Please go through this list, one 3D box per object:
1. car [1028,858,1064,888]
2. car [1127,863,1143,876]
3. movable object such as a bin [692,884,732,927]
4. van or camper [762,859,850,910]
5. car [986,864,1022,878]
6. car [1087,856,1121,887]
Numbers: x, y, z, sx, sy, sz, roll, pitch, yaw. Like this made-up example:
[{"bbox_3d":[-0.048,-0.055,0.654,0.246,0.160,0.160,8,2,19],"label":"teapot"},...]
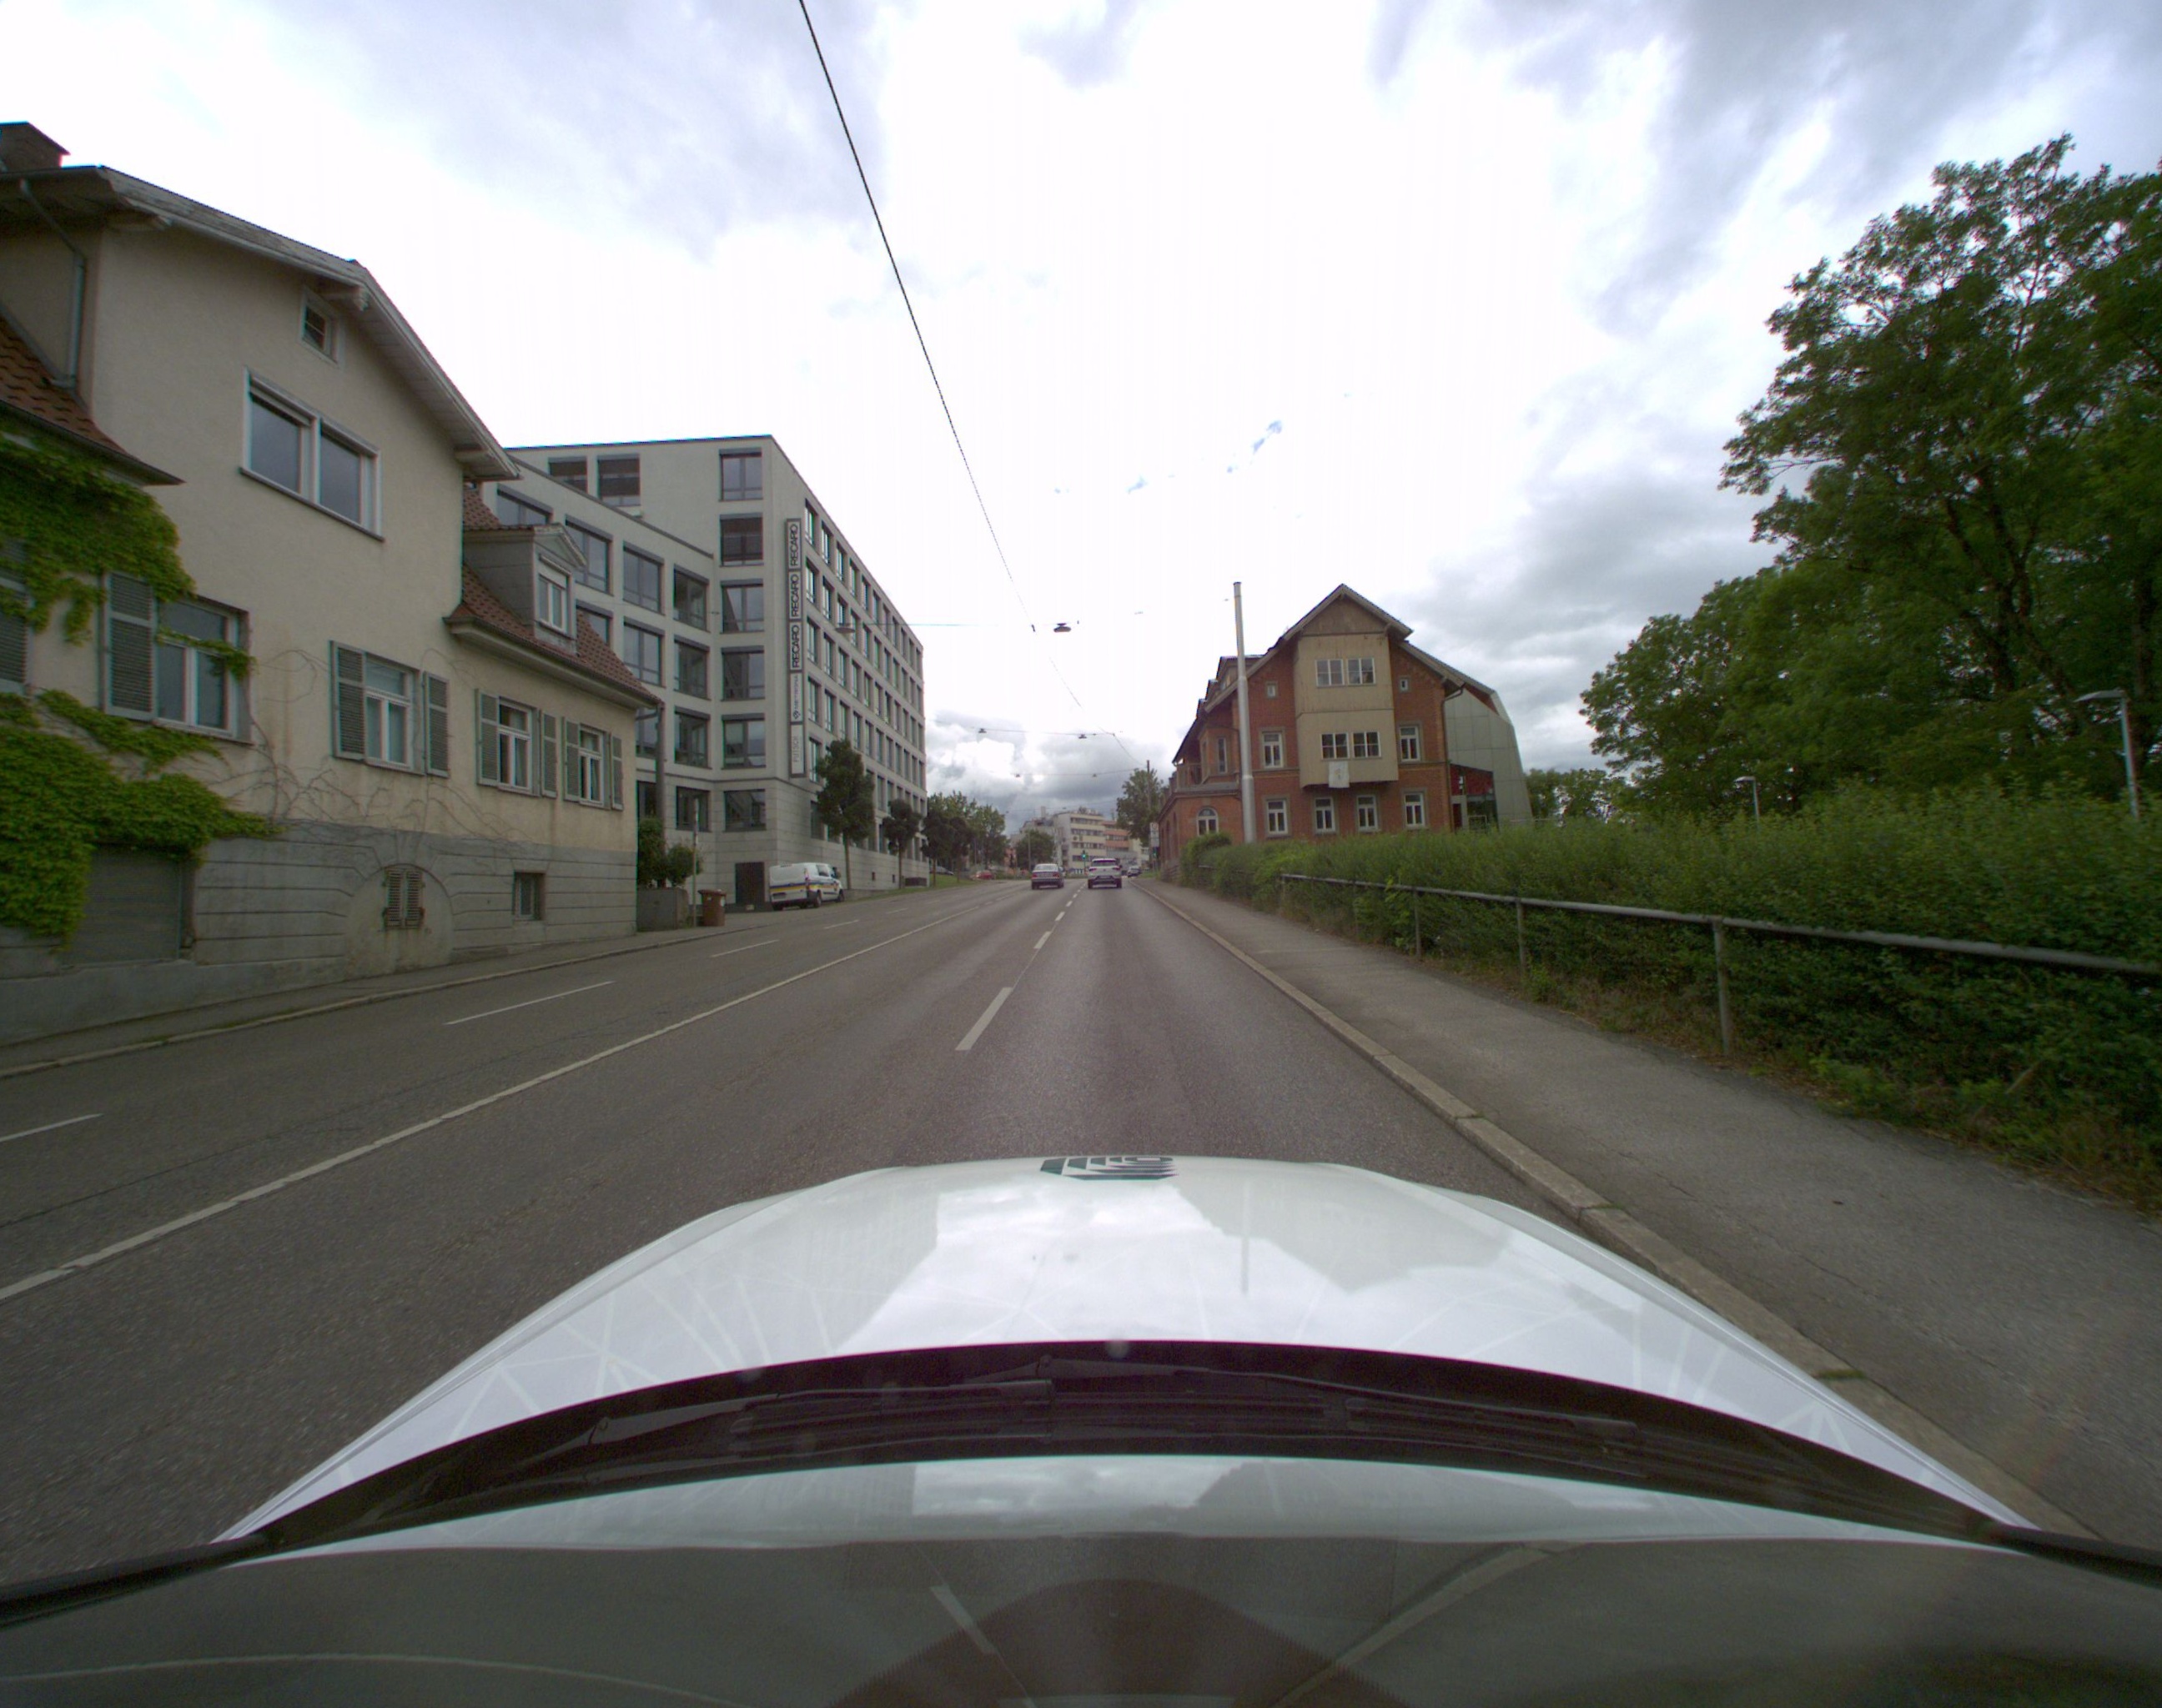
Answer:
[{"bbox_3d":[-1.901,1.052,45.736,1.693,1.516,3.737,-2,0,1],"label":"car"},{"bbox_3d":[6.930,1.967,103.746,1.761,1.571,4.292,-3,-1,6],"label":"car"},{"bbox_3d":[-10.623,1.481,23.471,0.808,1.189,0.697,1,-1,-5],"label":"movable object such as a bin"},{"bbox_3d":[-12.209,1.320,36.549,2.053,1.968,4.873,-5,-1,1],"label":"van or camper"},{"bbox_3d":[-9.233,2.068,97.766,4.023,1.544,1.759,-1,-2,-45],"label":"car"},{"bbox_3d":[1.200,0.909,43.178,1.693,1.548,3.737,1,0,1],"label":"car"}]
